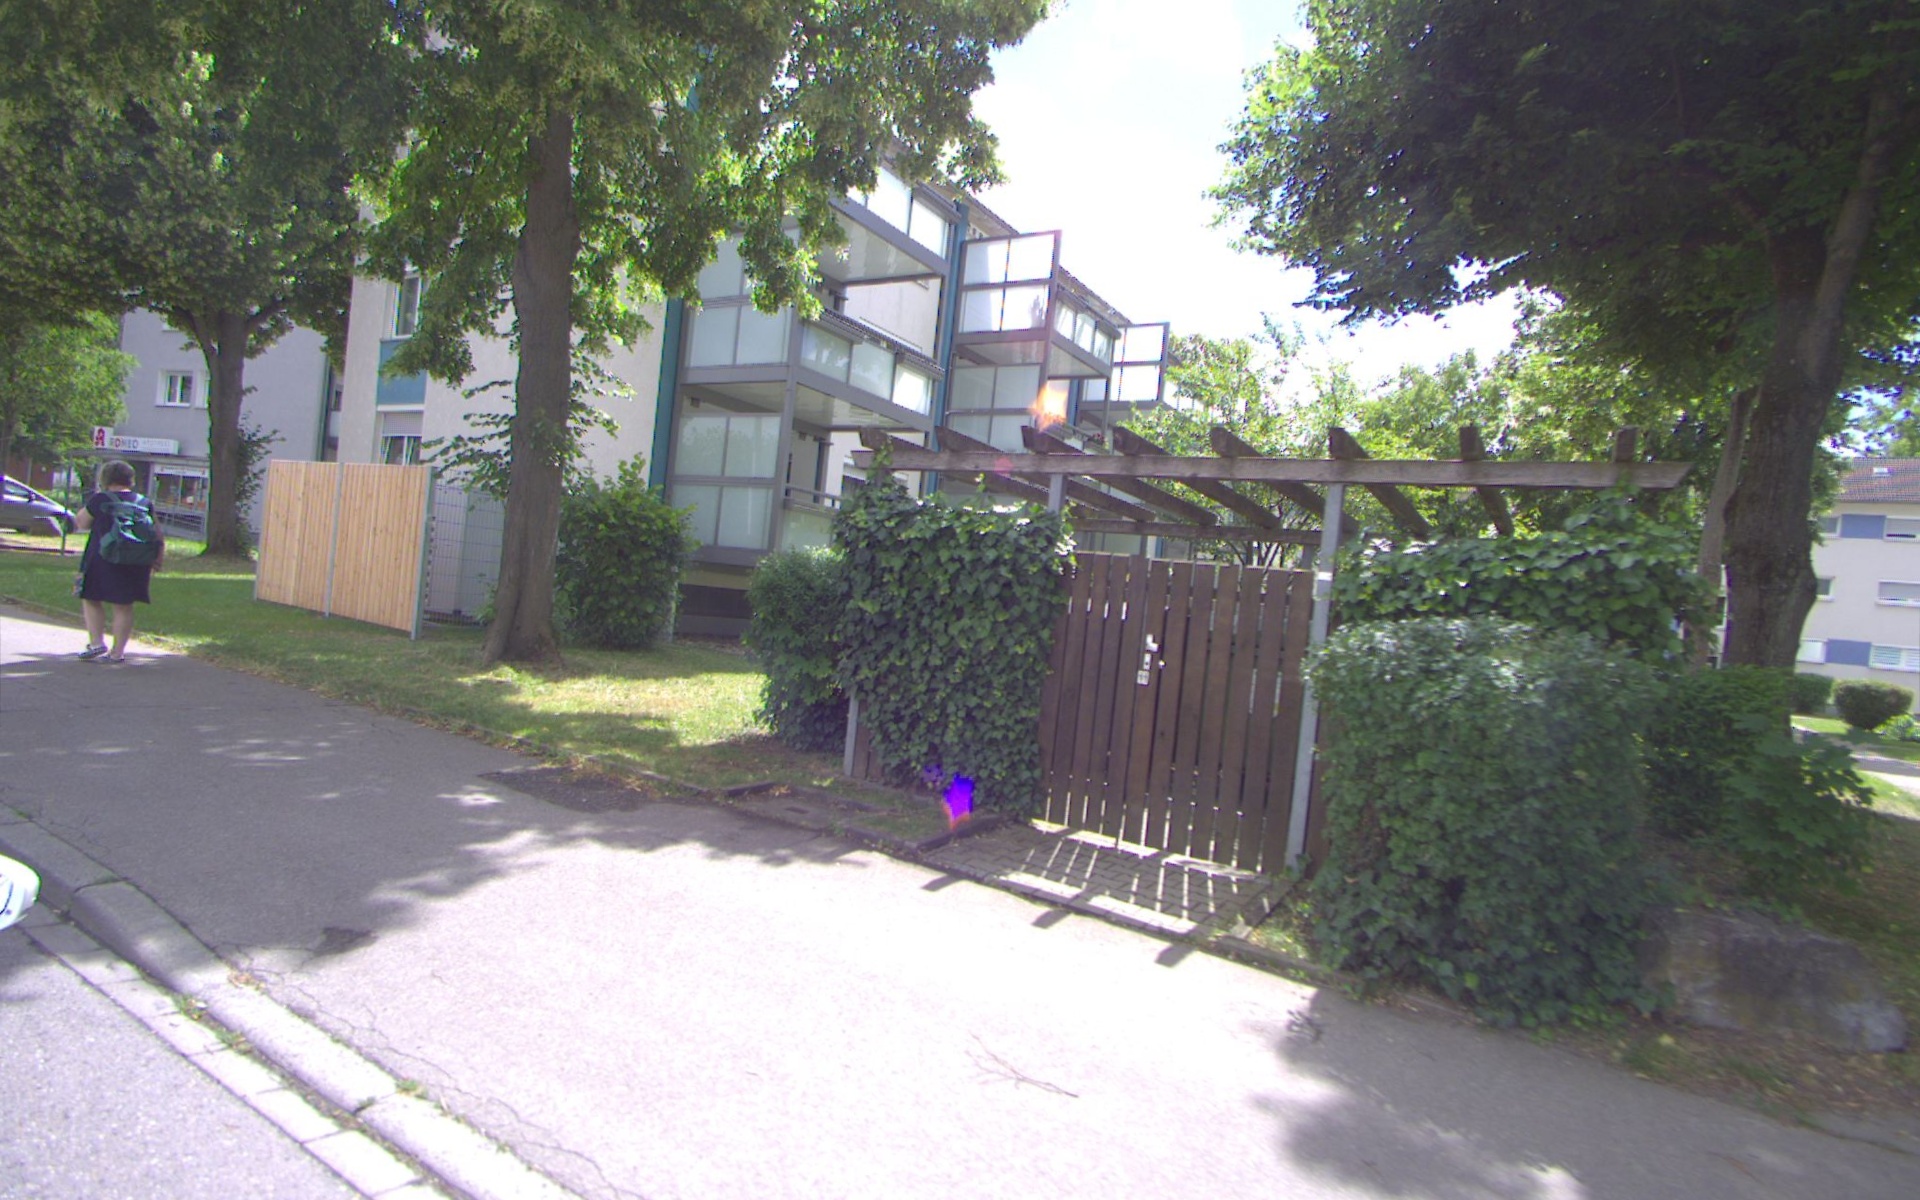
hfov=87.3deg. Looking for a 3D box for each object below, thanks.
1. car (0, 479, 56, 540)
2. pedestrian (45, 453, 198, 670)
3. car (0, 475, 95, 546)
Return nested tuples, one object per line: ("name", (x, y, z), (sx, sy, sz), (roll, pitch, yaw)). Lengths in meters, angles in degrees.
("car", (-28.332, -2.791, 28.196), (1.727, 1.579, 4.002), (7, -1, 20))
("pedestrian", (-7.182, -0.319, 8.623), (0.753, 1.729, 0.718), (8, 3, 31))
("car", (-25.530, -2.509, 26.278), (1.727, 1.579, 4.002), (7, -1, 20))
